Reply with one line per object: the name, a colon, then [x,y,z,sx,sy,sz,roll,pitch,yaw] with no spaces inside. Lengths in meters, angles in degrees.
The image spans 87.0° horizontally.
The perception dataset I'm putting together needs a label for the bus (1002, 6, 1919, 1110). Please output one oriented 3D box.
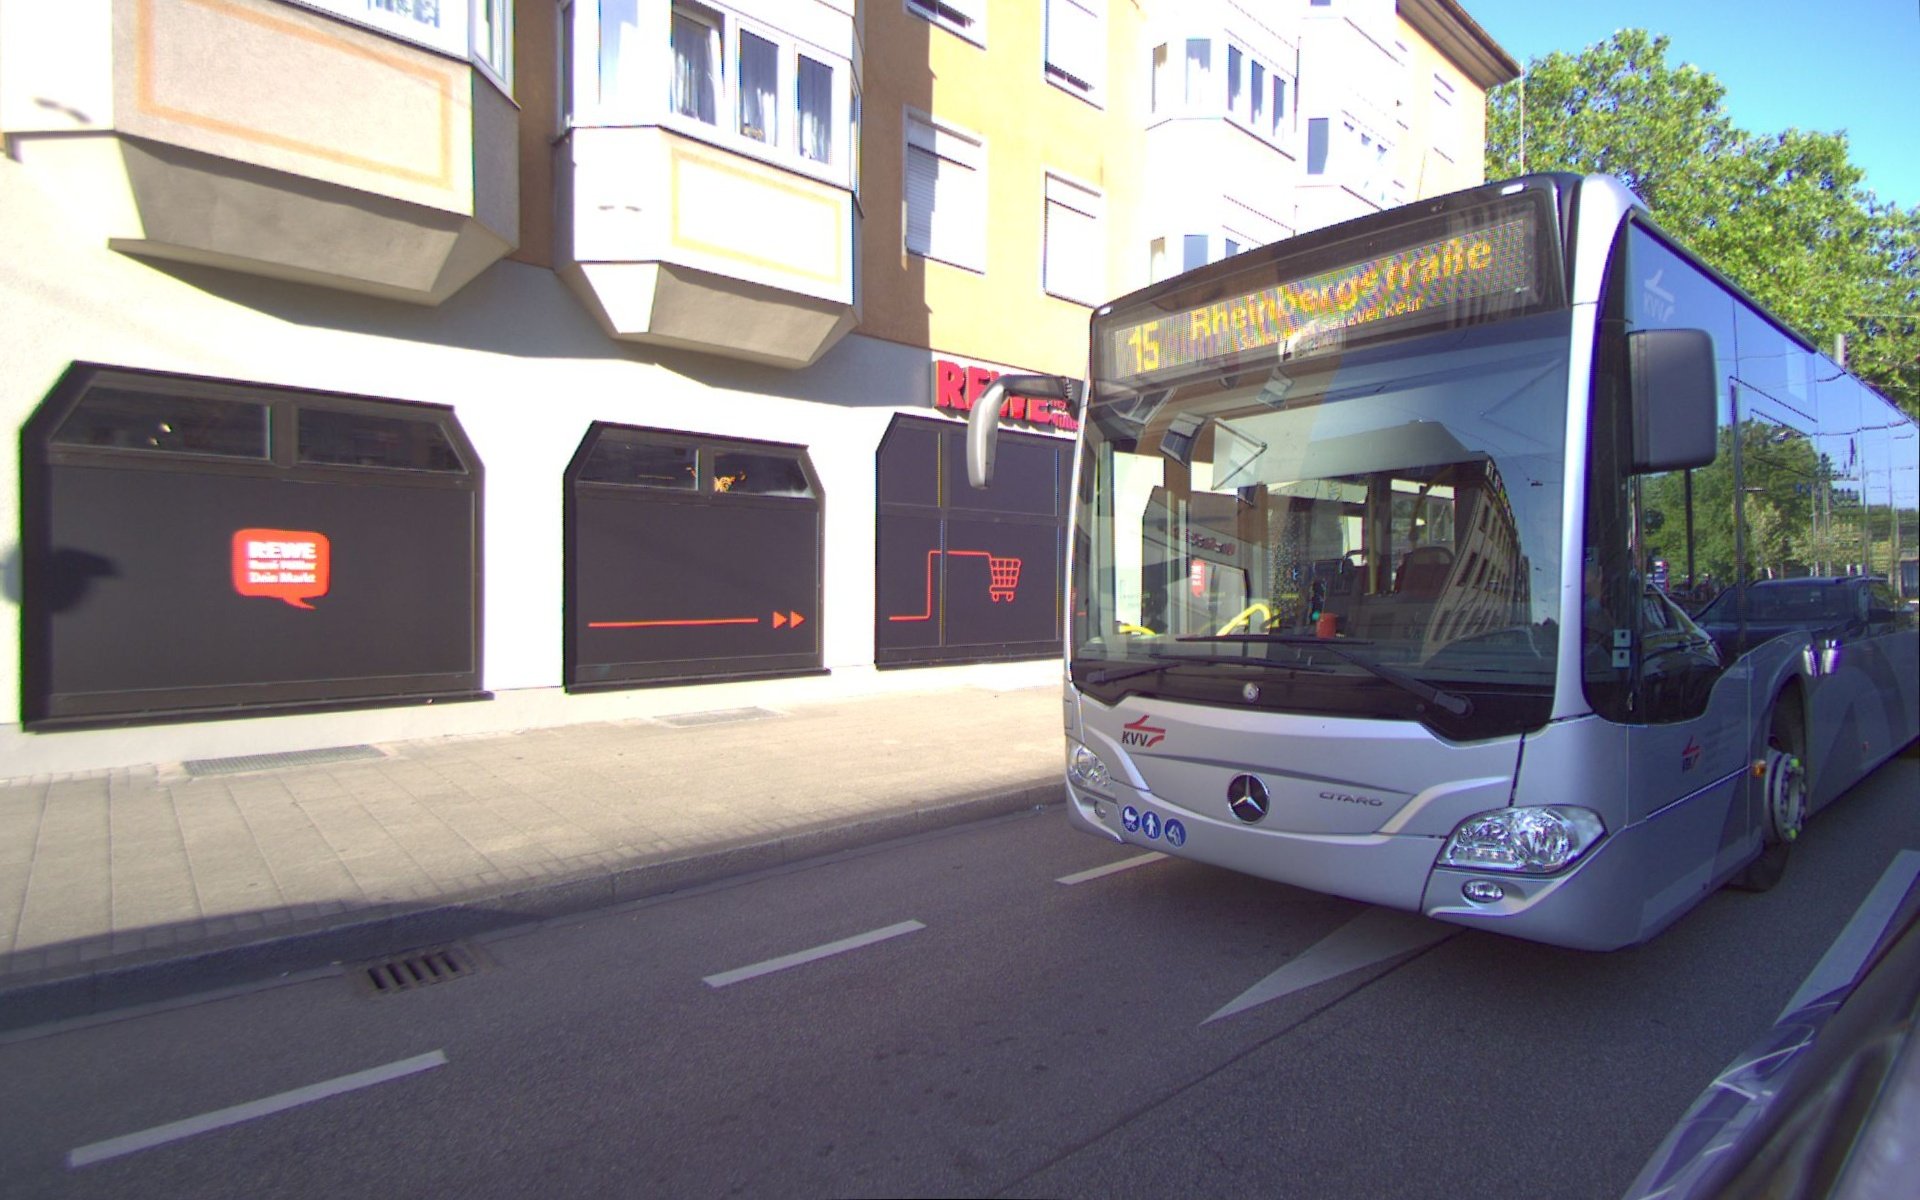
bus: [7.655,-0.300,9.743,17.435,3.189,2.770,-1,1,-41]
